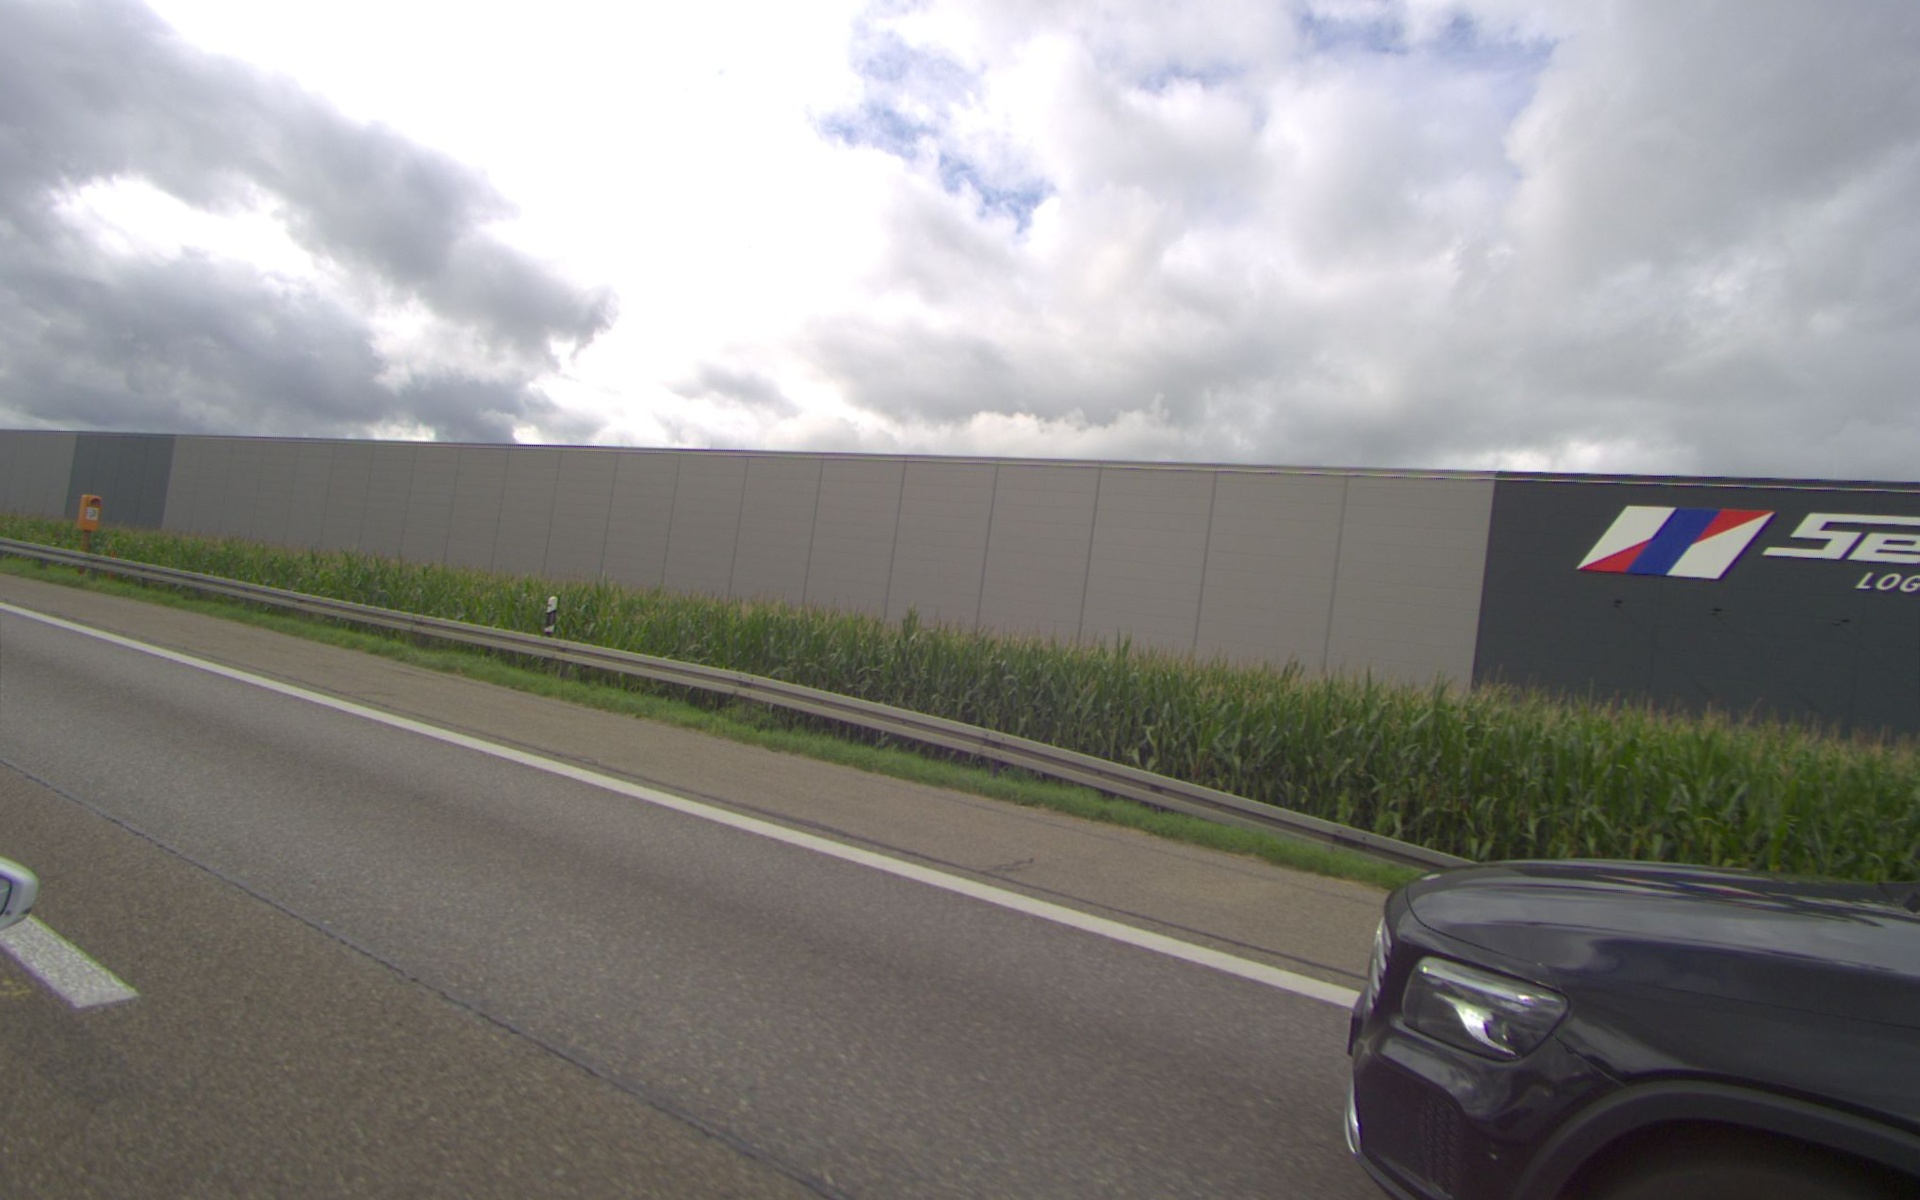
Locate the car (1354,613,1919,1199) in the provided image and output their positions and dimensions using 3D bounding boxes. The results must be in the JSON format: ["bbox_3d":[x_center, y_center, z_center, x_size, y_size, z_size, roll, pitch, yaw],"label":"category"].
[{"bbox_3d":[3.196,1.115,1.857,4.288,1.628,1.836,6,-2,32],"label":"car"}]
